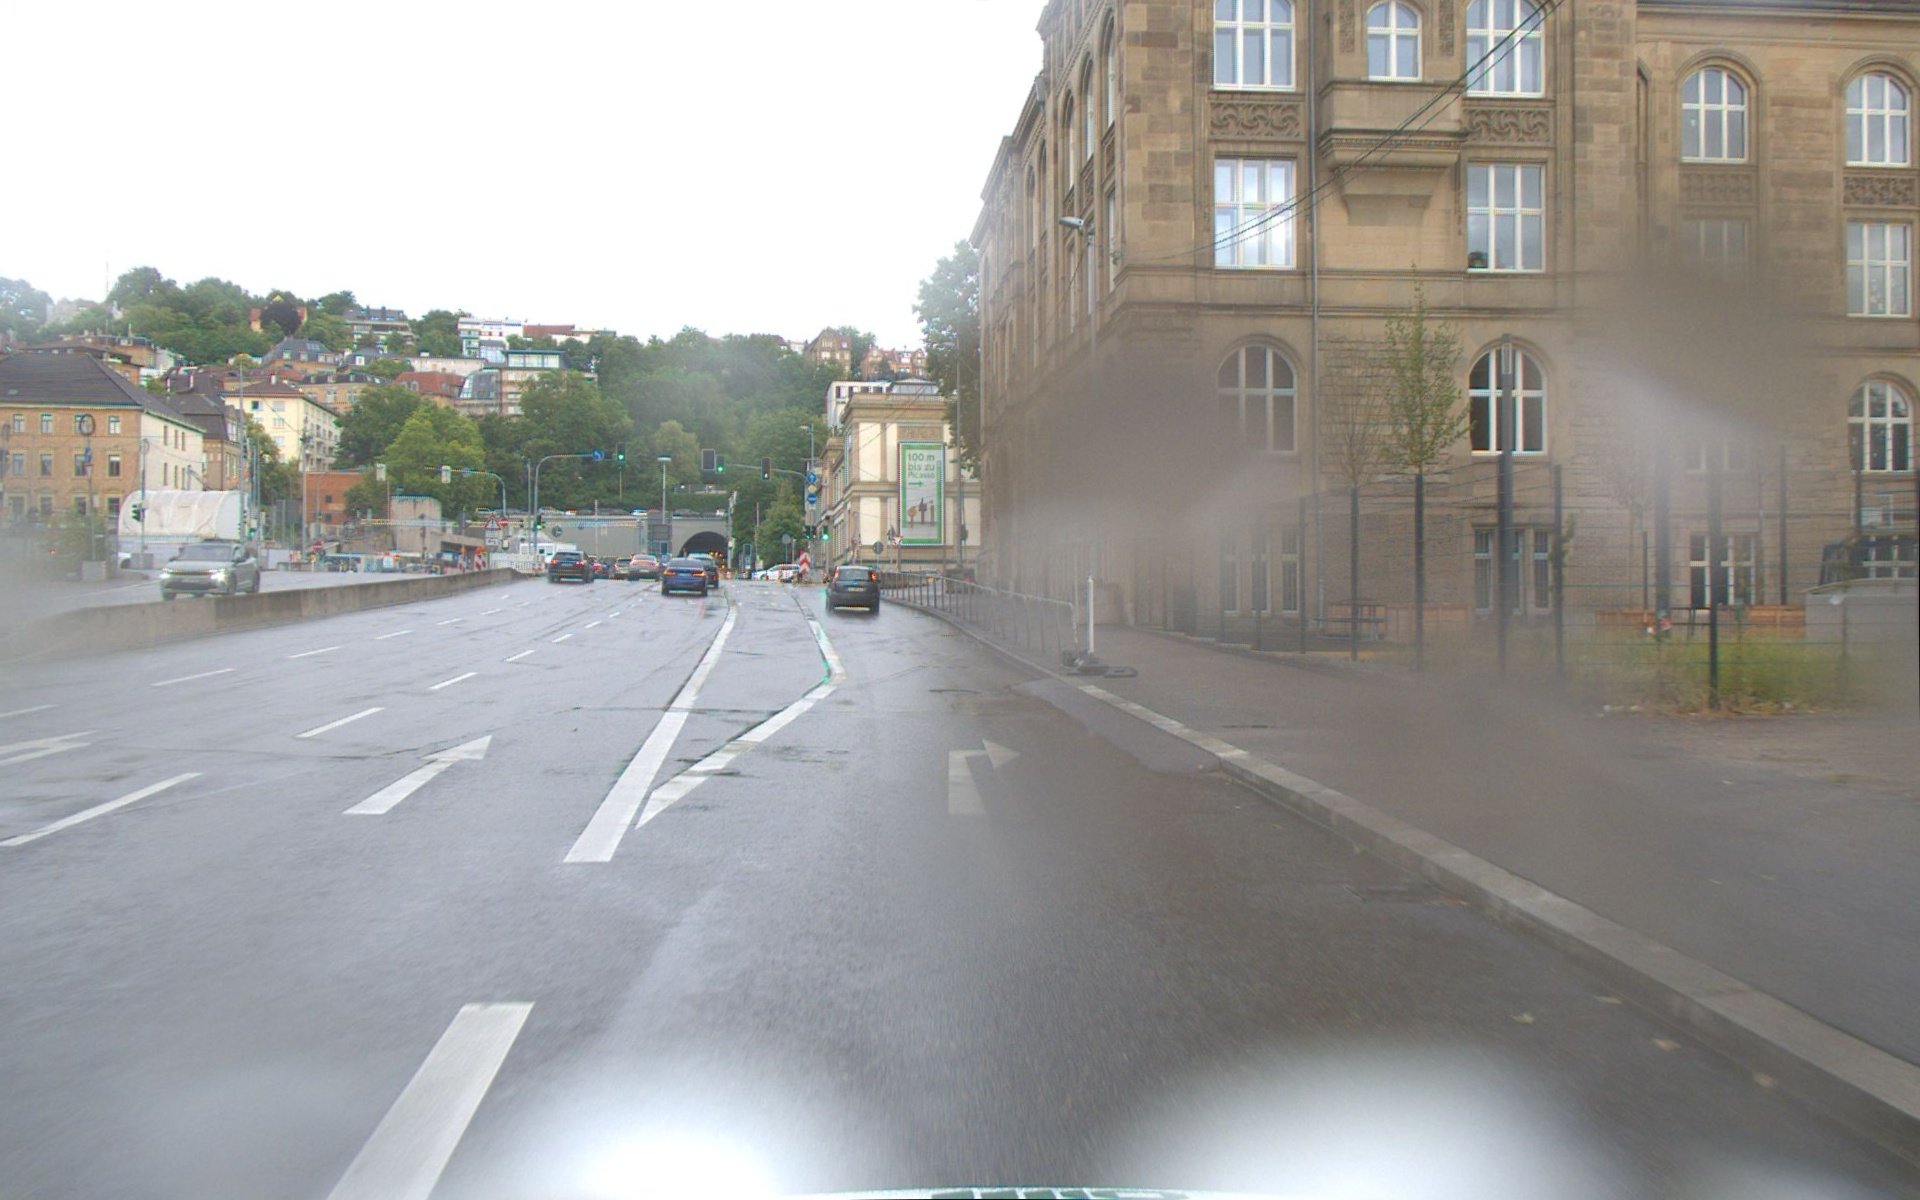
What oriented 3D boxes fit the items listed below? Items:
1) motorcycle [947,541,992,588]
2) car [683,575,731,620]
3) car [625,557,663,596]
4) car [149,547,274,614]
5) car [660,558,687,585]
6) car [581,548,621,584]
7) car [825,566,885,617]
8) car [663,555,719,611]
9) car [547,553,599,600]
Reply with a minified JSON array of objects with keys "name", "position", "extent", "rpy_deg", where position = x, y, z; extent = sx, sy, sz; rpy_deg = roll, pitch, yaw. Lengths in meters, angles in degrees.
[{"name":"motorcycle","position":[0.401,-1.626,74.536],"extent":[1.760,2.048,3.810],"rpy_deg":[0,1,-4]},{"name":"car","position":[-12.037,-0.072,78.885],"extent":[1.740,2.049,3.998],"rpy_deg":[-1,-1,-2]},{"name":"car","position":[-17.816,-1.288,93.196],"extent":[2.015,2.049,3.988],"rpy_deg":[-1,-1,-12]},{"name":"car","position":[-21.881,-0.523,48.571],"extent":[1.957,1.786,5.287],"rpy_deg":[-1,-1,-9]},{"name":"car","position":[-22.548,-2.225,130.028],"extent":[1.958,2.049,3.989],"rpy_deg":[-1,0,-11]},{"name":"car","position":[-22.519,-2.124,103.856],"extent":[1.955,2.049,3.995],"rpy_deg":[-1,-1,-5]},{"name":"car","position":[-3.437,-0.251,53.522],"extent":[1.777,1.553,3.995],"rpy_deg":[-1,-1,-6]},{"name":"car","position":[-10.733,-0.639,66.149],"extent":[2.065,2.086,3.992],"rpy_deg":[-1,-1,-8]},{"name":"car","position":[-18.227,-1.096,78.100],"extent":[1.979,2.049,3.992],"rpy_deg":[-1,-1,-8]}]
